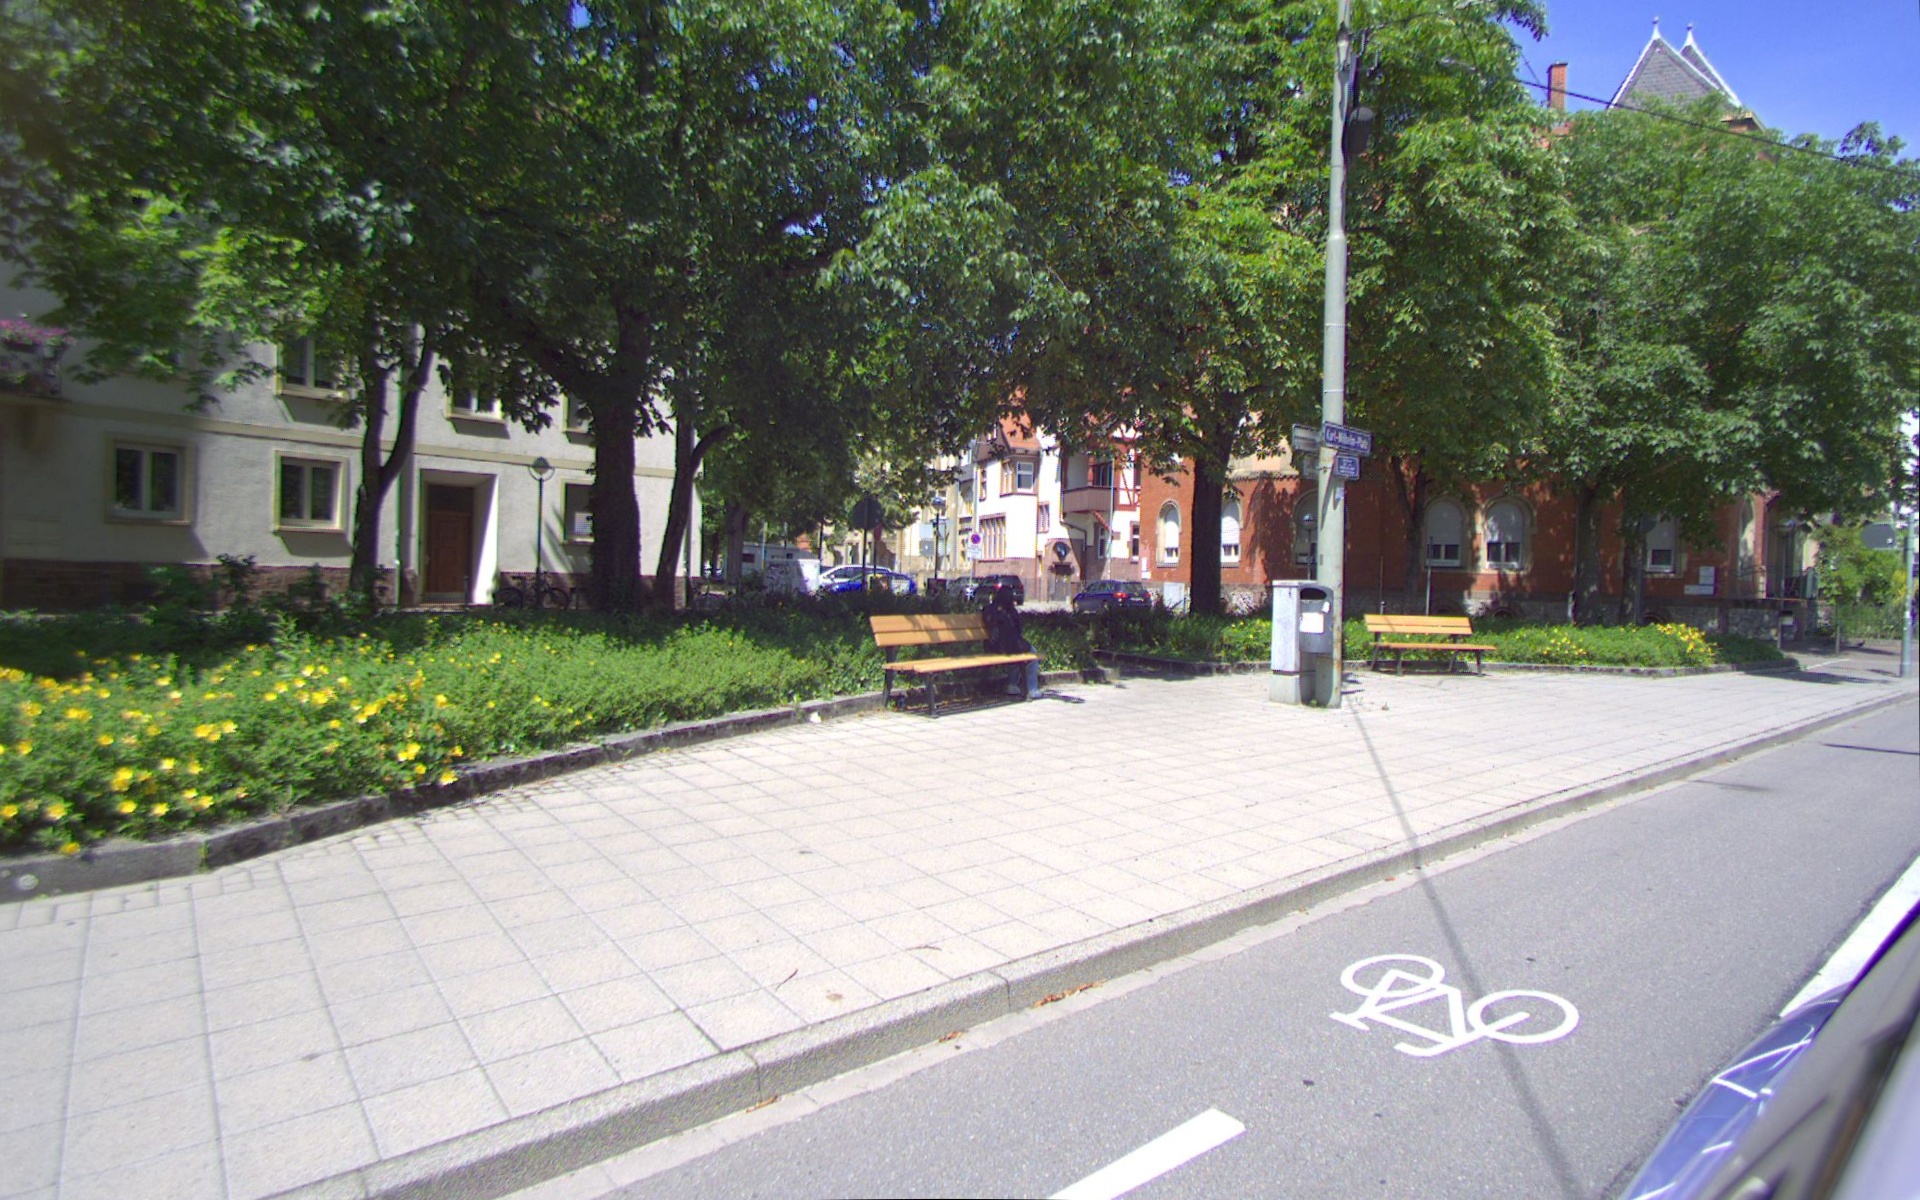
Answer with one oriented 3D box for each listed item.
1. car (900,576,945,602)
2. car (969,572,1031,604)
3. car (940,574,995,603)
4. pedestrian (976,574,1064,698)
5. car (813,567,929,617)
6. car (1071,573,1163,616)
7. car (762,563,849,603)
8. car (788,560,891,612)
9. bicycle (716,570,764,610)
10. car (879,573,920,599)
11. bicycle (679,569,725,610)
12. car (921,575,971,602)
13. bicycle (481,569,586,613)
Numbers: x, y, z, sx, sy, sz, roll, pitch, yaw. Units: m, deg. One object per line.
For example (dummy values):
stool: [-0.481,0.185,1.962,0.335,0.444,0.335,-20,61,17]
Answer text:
car: [-2.564,-0.730,67.953,1.897,1.638,4.318,0,0,-19]
car: [2.070,-0.623,54.079,1.897,1.638,4.318,0,0,-19]
car: [0.383,-0.658,58.686,1.897,1.638,4.318,0,0,-19]
pedestrian: [0.604,0.332,10.079,0.562,1.156,0.718,3,2,33]
car: [-3.540,-0.325,40.020,4.219,1.903,1.942,0,0,-18]
car: [6.279,-0.237,41.030,1.897,1.638,4.318,0,0,-19]
car: [-8.081,-0.886,52.942,4.219,2.029,1.942,0,0,-18]
car: [-5.368,-0.632,44.833,4.219,2.219,1.942,0,0,-18]
bicycle: [-5.863,-0.272,26.908,0.736,1.024,2.273,0,0,-26]
car: [-4.500,-1.009,74.466,1.897,1.897,4.318,0,0,-19]
bicycle: [-6.770,-0.263,26.479,0.736,1.024,2.273,0,0,-26]
car: [-0.916,-0.694,63.257,1.897,1.638,4.318,0,0,-19]
bicycle: [-10.247,-0.225,24.379,2.230,1.024,0.751,-1,0,-41]
